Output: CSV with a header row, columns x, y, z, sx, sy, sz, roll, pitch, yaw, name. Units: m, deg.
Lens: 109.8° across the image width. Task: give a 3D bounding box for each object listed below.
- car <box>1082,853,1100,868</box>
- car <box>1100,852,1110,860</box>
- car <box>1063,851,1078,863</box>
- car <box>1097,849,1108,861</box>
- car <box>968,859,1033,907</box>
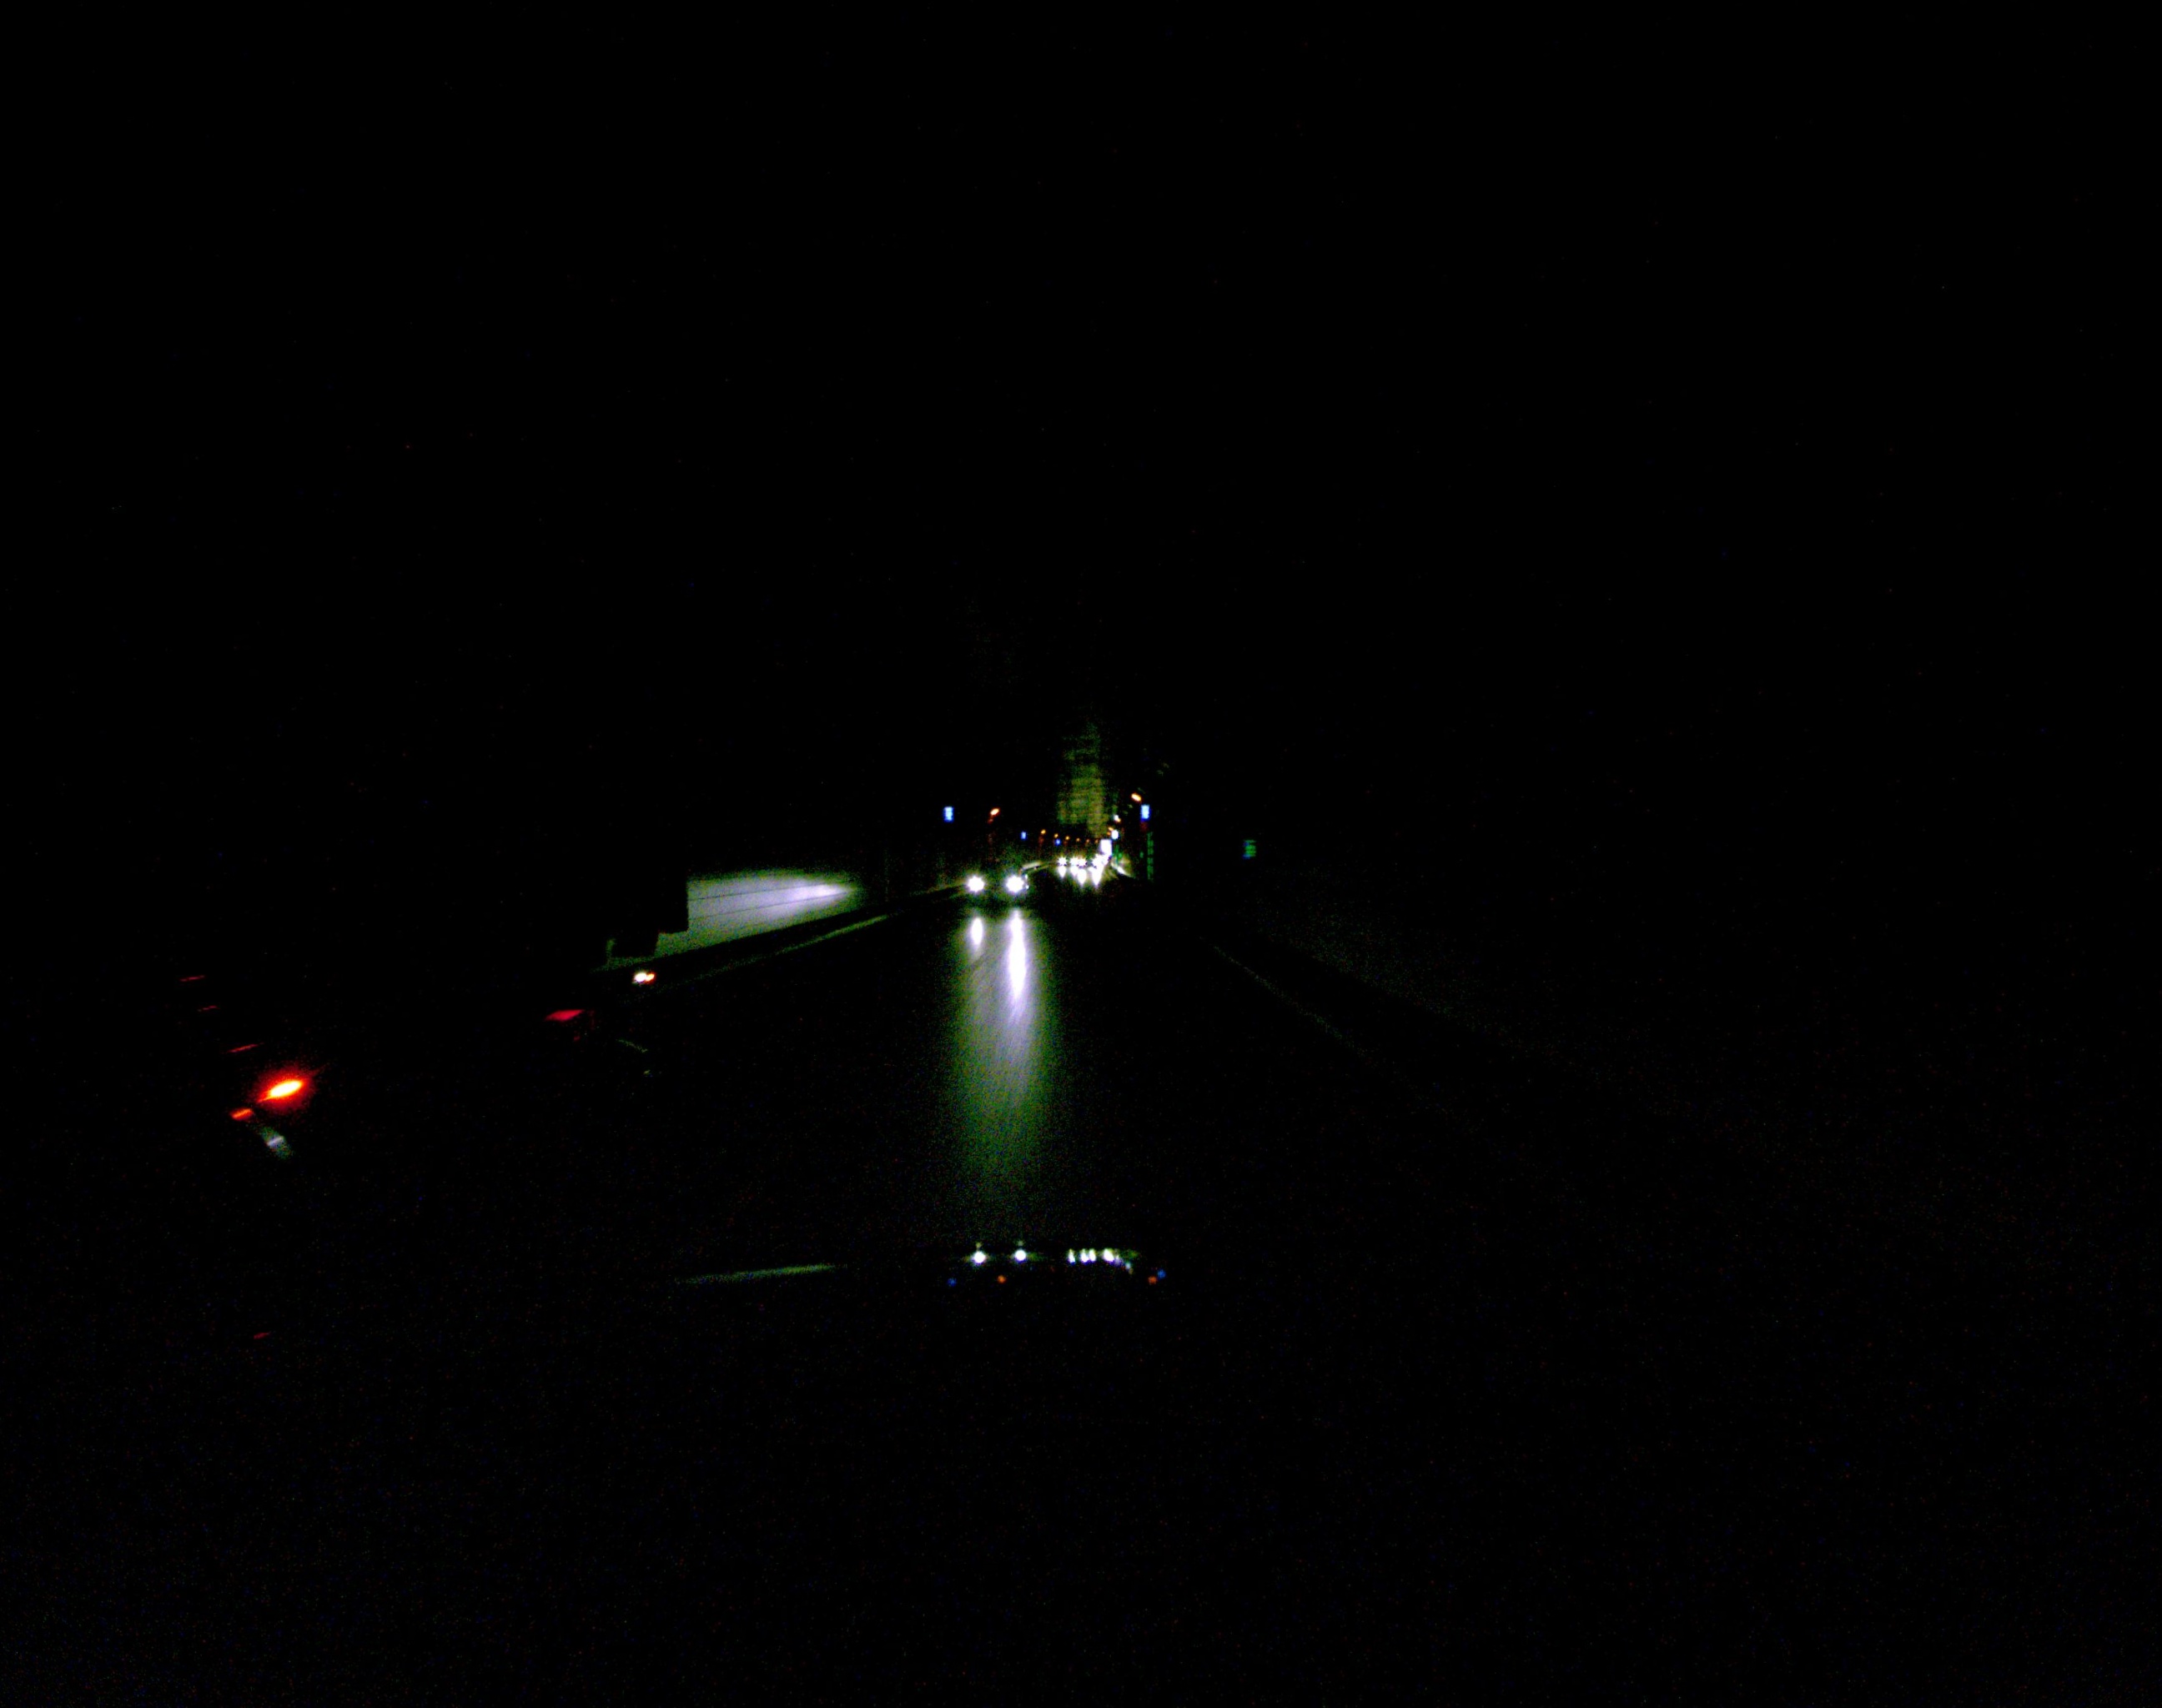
x,y,z,sx,sy,sz,roll,pitch,yaw,name
1.082,0.685,82.153,1.819,1.589,4.001,1,0,3,car
5.099,0.390,158.129,1.811,1.576,4.001,-1,0,6,car
-1.410,0.409,99.797,1.735,1.565,4.000,-1,0,2,car
3.533,0.107,122.481,1.714,1.729,3.999,-1,2,2,car
-2.657,0.925,25.873,1.735,1.395,3.798,-2,1,1,car
